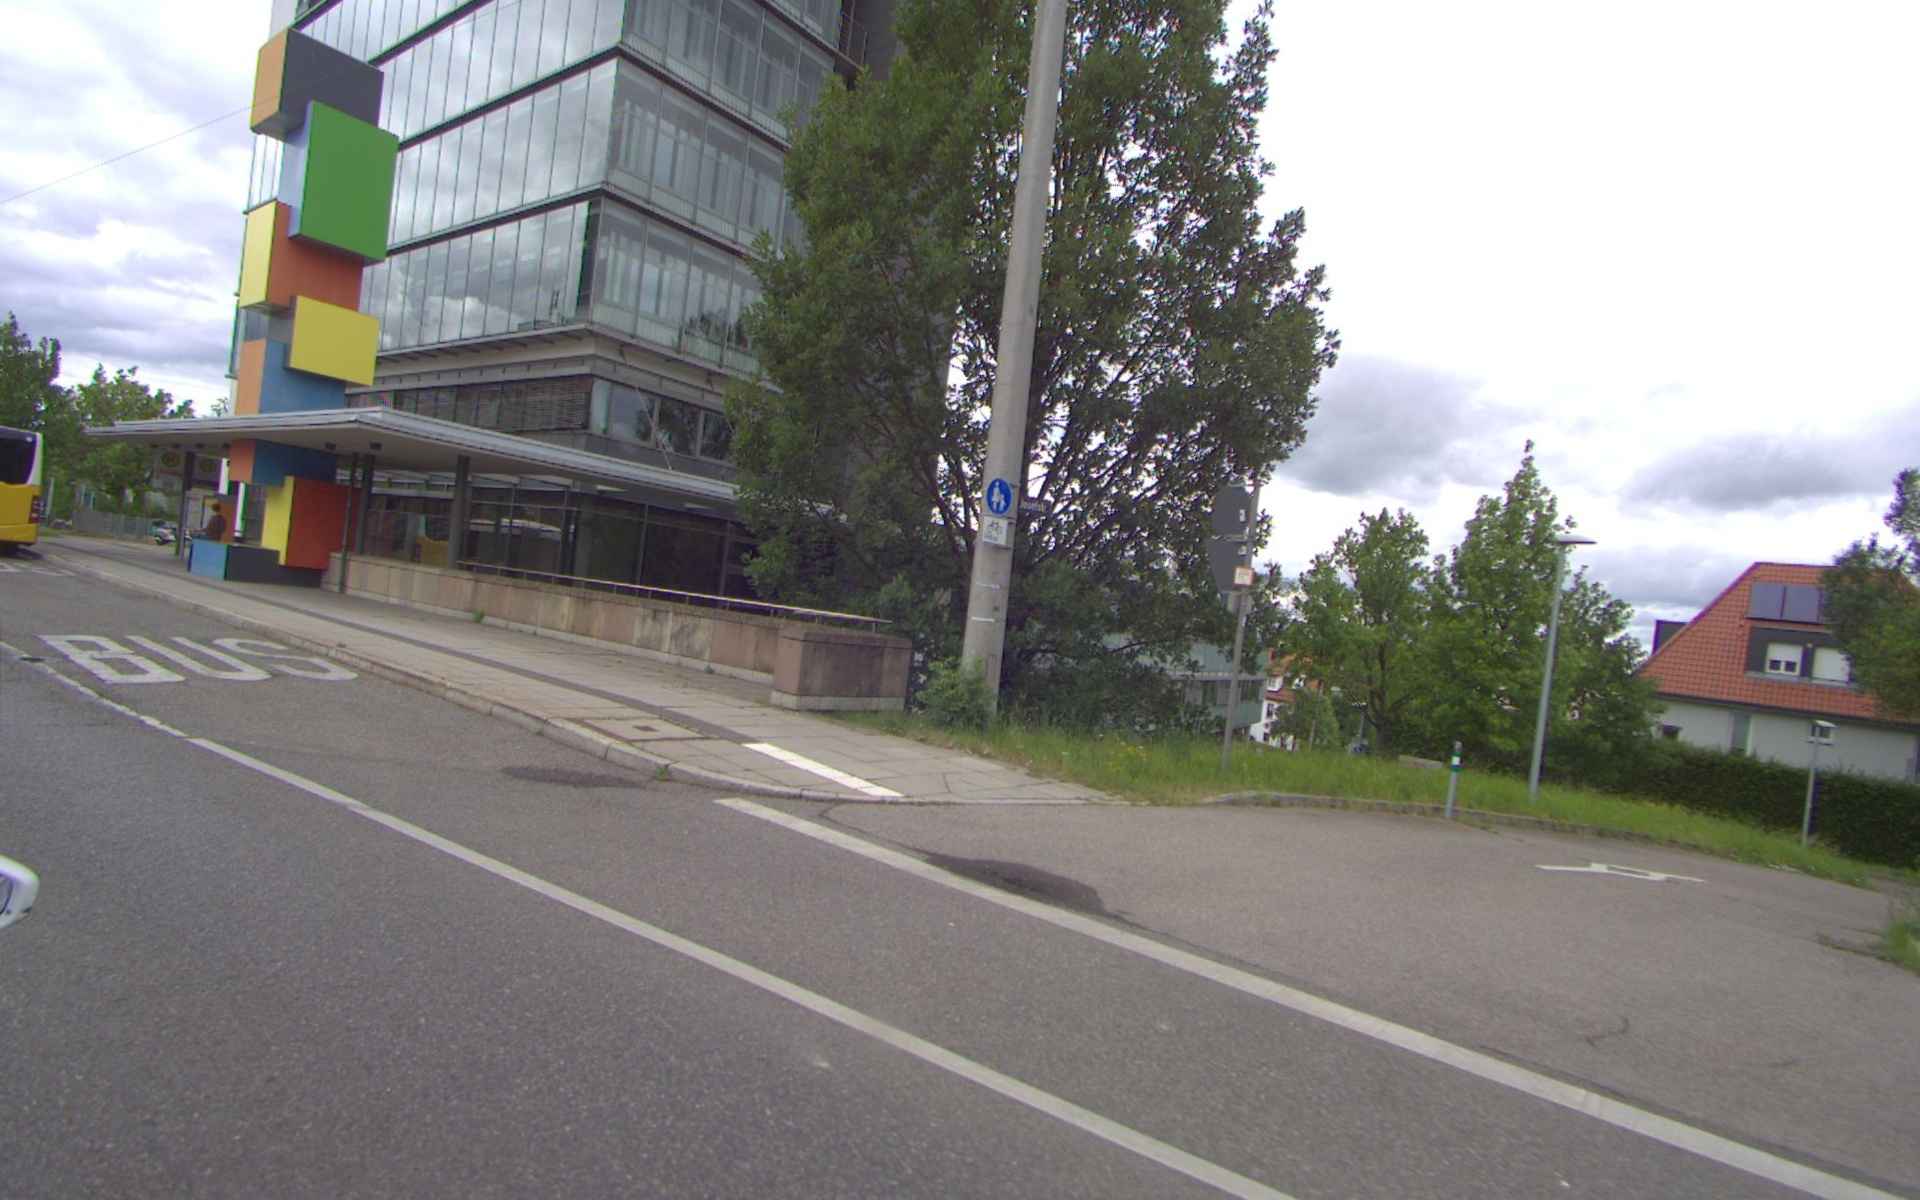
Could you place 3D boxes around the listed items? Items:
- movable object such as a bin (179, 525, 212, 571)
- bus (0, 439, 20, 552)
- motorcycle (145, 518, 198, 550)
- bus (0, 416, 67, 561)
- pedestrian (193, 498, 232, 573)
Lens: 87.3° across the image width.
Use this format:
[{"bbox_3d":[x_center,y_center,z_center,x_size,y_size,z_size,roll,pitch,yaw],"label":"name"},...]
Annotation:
[{"bbox_3d":[-18.508,-1.255,24.354,0.525,1.041,0.420,7,0,39],"label":"movable object such as a bin"},{"bbox_3d":[-32.603,-3.577,31.773,9.729,3.276,2.982,5,-4,41],"label":"bus"},{"bbox_3d":[-33.426,-2.788,42.646,1.709,1.129,0.825,7,0,13],"label":"motorcycle"},{"bbox_3d":[-26.246,-3.035,26.201,9.205,3.276,3.032,6,0,40],"label":"bus"},{"bbox_3d":[-18.416,-1.586,24.783,0.564,1.757,0.508,7,0,38],"label":"pedestrian"}]
